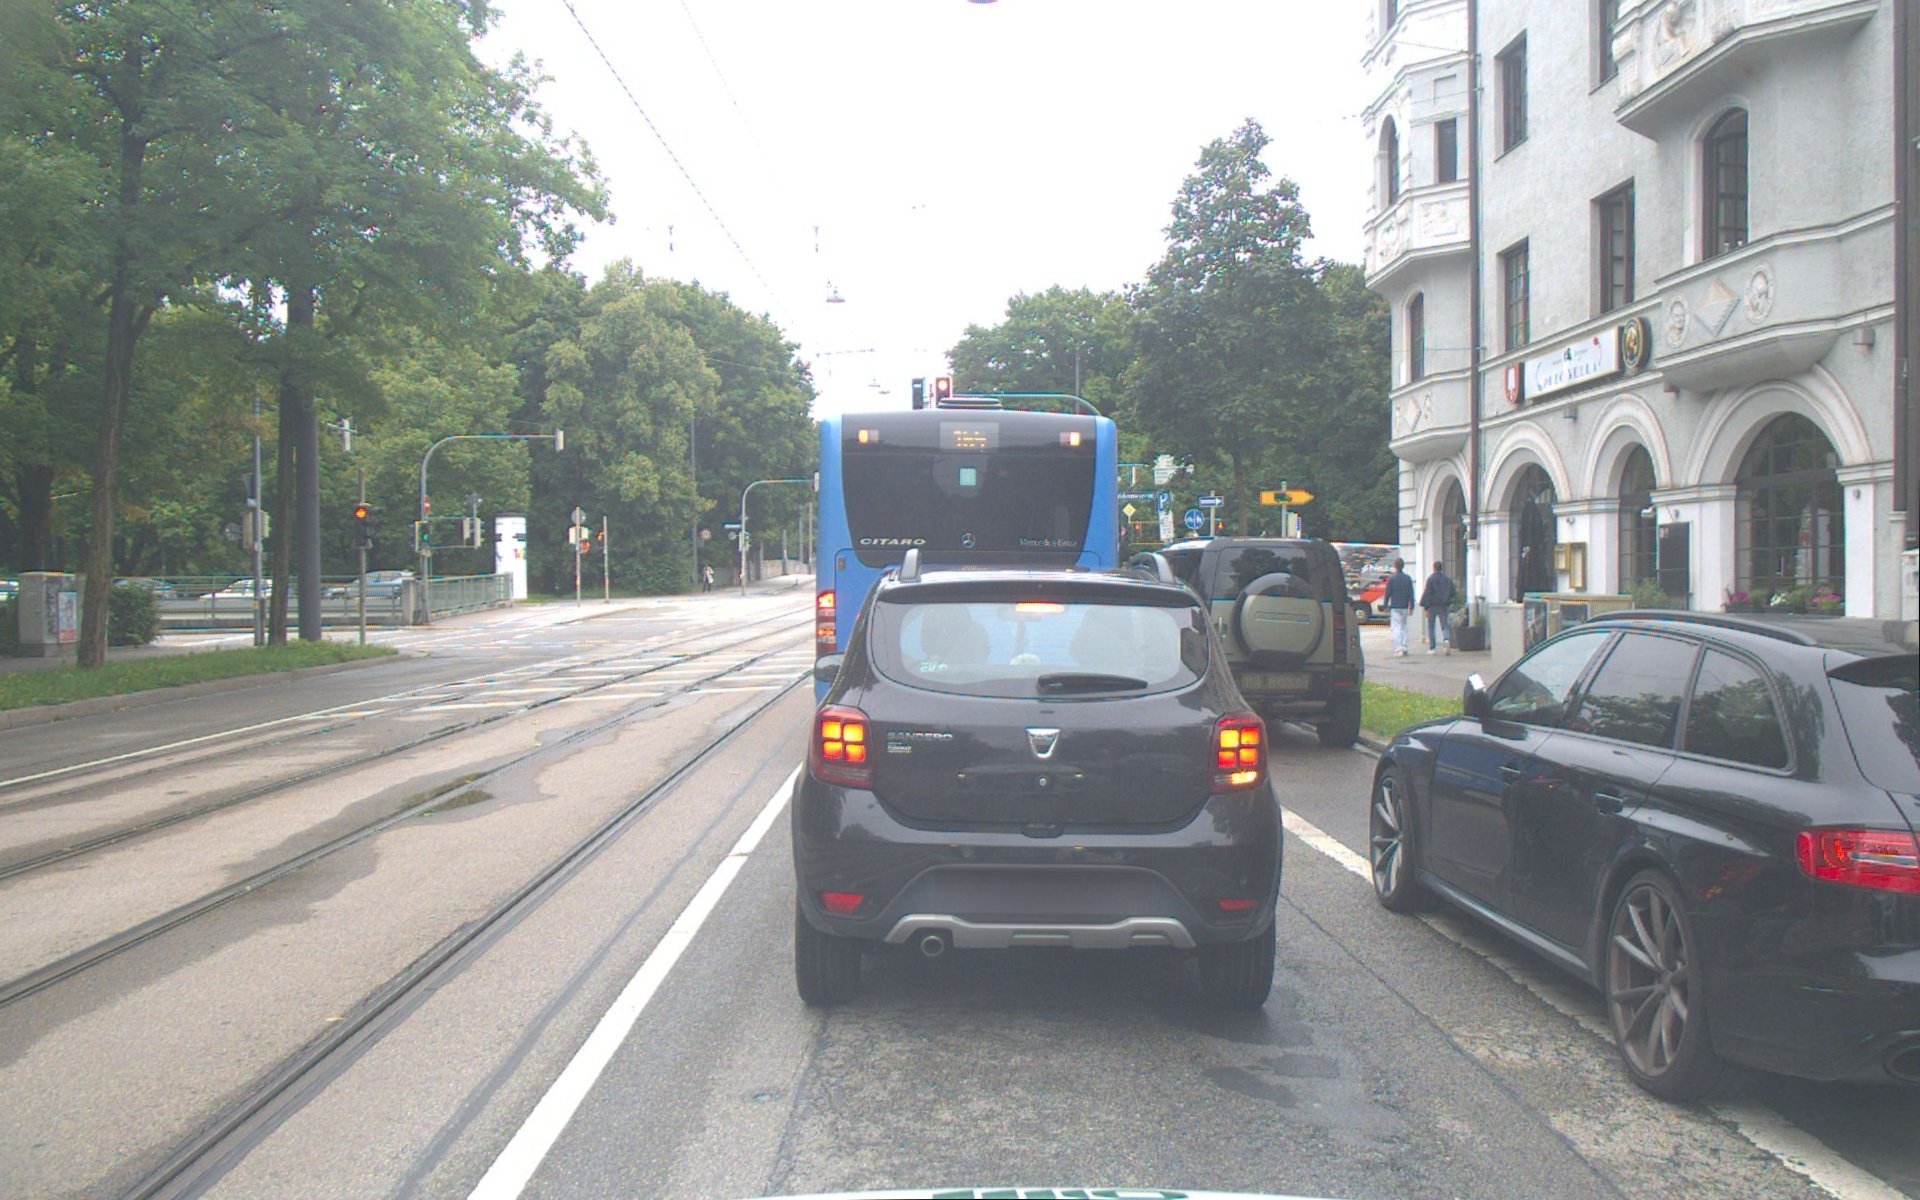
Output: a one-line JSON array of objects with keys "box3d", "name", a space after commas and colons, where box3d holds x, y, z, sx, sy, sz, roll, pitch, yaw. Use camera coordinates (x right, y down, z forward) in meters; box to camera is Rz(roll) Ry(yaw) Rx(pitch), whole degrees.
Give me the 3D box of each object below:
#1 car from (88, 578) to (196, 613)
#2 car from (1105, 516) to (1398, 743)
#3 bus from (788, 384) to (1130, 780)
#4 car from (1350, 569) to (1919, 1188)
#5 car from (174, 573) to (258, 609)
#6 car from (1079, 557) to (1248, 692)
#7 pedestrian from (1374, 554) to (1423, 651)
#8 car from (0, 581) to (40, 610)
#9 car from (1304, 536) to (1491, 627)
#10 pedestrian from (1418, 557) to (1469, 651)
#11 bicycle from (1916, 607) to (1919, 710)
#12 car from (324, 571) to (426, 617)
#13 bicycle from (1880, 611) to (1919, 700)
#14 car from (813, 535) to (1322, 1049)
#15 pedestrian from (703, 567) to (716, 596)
[{"box3d": [-35.653, -0.204, 72.163, 3.848, 1.429, 1.719, 1, 0, -5], "name": "car"}, {"box3d": [2.763, 0.245, 16.835, 1.876, 1.939, 4.805, 1, 0, -3], "name": "car"}, {"box3d": [-0.156, -0.159, 16.473, 2.625, 3.050, 6.957, 1, 0, -3], "name": "bus"}, {"box3d": [2.909, 0.659, 6.210, 1.681, 1.451, 4.601, 1, 0, -1], "name": "car"}, {"box3d": [-32.519, -0.382, 72.319, 3.050, 1.477, 1.249, 1, 0, -6], "name": "car"}, {"box3d": [2.653, 0.287, 22.424, 1.679, 1.619, 4.326, 1, 0, -1], "name": "car"}, {"box3d": [8.494, 0.049, 32.055, 0.690, 1.848, 0.869, 1, 0, -1], "name": "pedestrian"}, {"box3d": [-42.041, -0.207, 71.565, 3.656, 1.206, 1.249, 1, 0, -6], "name": "car"}, {"box3d": [13.657, -0.578, 51.840, 5.191, 2.658, 2.229, 1, 0, -4], "name": "car"}, {"box3d": [9.285, 0.076, 31.770, 0.690, 1.762, 0.843, 1, 0, -1], "name": "pedestrian"}, {"box3d": [10.049, 0.611, 16.541, 0.237, 1.057, 1.223, 1, 0, -1], "name": "bicycle"}, {"box3d": [-25.813, -0.276, 73.071, 3.946, 1.920, 1.488, 1, 0, -8], "name": "car"}, {"box3d": [10.440, 0.599, 18.075, 0.254, 0.947, 0.886, 1, 0, 0], "name": "bicycle"}, {"box3d": [0.299, 0.596, 6.949, 1.568, 1.584, 3.524, 1, 0, -1], "name": "car"}, {"box3d": [-13.240, -0.984, 87.401, 0.520, 1.527, 0.588, 1, 0, 4], "name": "pedestrian"}]
